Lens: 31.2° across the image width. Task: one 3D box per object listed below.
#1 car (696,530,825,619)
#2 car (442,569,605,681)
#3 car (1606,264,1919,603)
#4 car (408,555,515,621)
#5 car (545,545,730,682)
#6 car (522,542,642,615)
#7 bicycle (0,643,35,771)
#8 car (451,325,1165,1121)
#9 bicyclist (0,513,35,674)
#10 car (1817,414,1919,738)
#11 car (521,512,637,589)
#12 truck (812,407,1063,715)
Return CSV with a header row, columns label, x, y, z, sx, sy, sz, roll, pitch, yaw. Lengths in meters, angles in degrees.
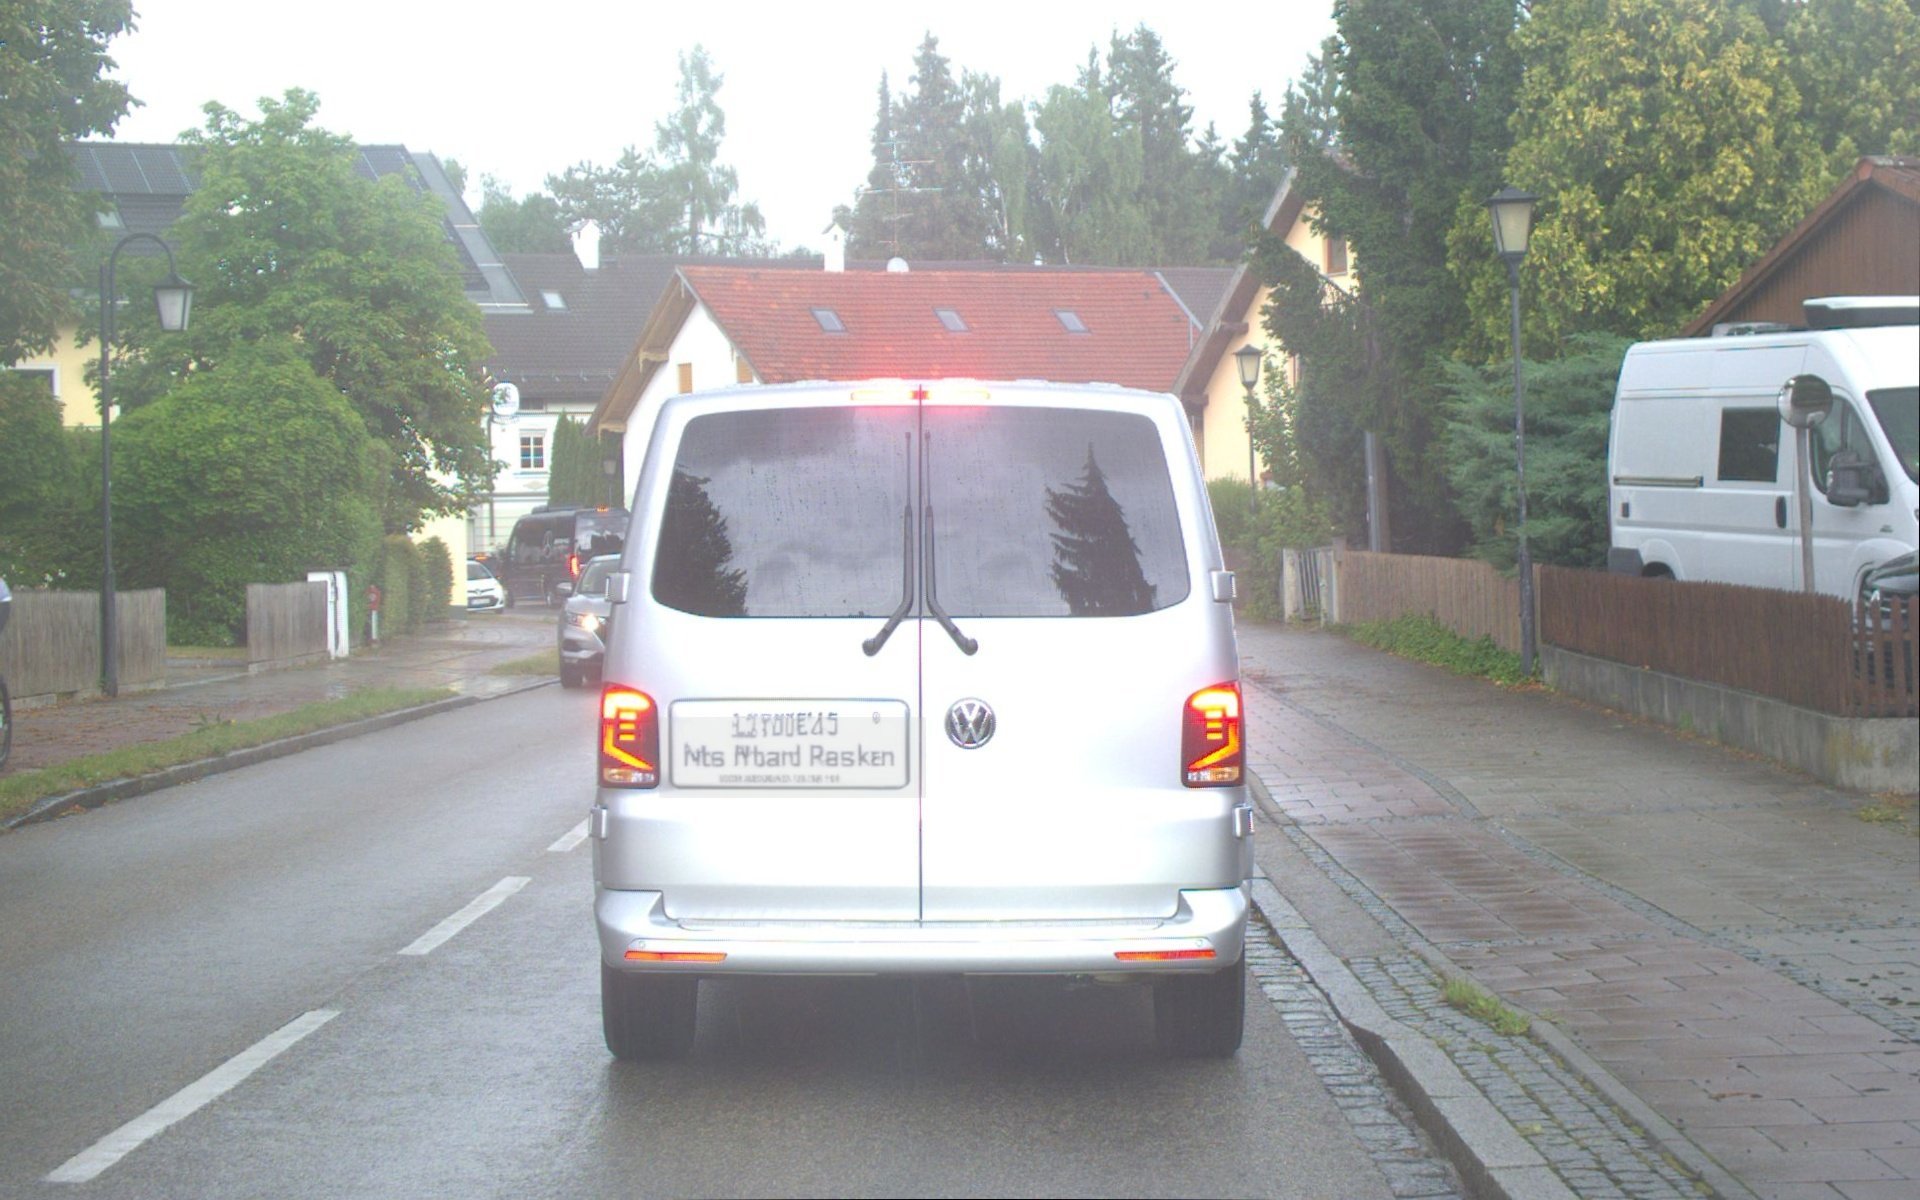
label,x,y,z,sx,sy,sz,roll,pitch,yaw
car,-4.702,-0.600,80.441,1.993,2.007,4.001,1,0,-18
car,-5.865,0.322,46.498,1.618,1.439,3.670,1,0,2
car,6.586,-1.071,24.559,1.993,2.166,4.954,1,0,-13
car,-13.569,-0.338,93.451,1.993,1.697,4.001,1,0,-21
car,-3.851,0.147,41.689,1.827,1.553,4.177,-1,0,0
car,-10.340,-0.599,93.829,1.993,1.920,4.001,1,0,-26
bicycle,-6.403,0.702,21.997,0.456,0.796,1.977,0,1,0
car,-0.309,0.309,10.839,1.801,2.007,4.000,1,0,2
bicyclist,-6.372,-0.046,22.075,0.587,1.018,1.060,0,1,0
car,7.138,-0.201,19.513,4.093,1.745,1.695,-1,3,-3
car,-10.399,-1.334,93.667,1.993,2.007,4.001,1,0,-24
truck,-0.248,-0.399,37.901,2.475,3.063,6.296,1,0,0
